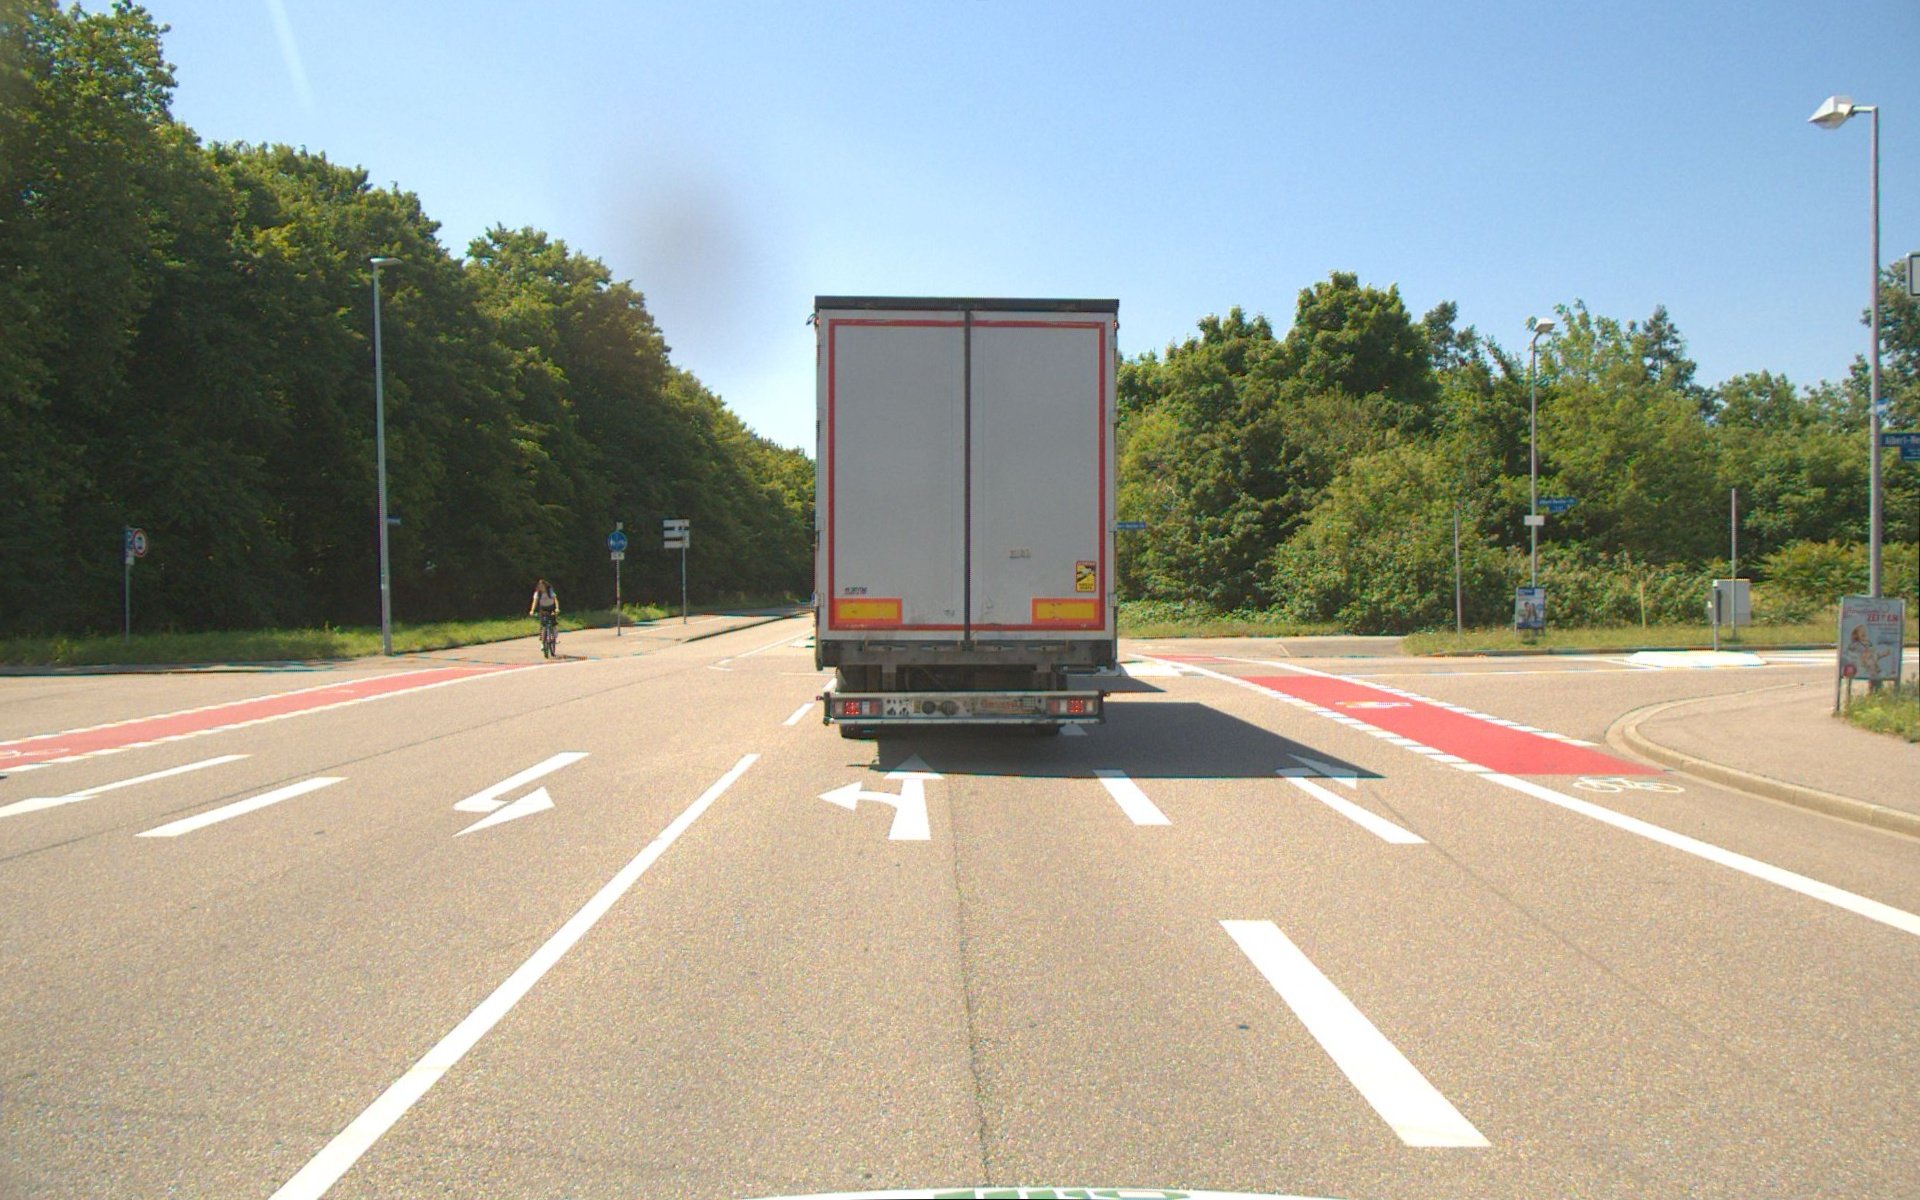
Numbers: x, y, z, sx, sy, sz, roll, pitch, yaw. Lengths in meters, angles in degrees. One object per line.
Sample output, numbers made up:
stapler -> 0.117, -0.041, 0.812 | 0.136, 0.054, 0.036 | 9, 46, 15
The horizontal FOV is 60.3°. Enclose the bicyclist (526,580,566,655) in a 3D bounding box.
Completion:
bicyclist -> -9.741, 0.394, 38.904 | 0.650, 1.735, 0.770 | 0, 1, 10

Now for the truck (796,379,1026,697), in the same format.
truck -> -0.984, -0.849, 25.620 | 3.017, 4.141, 7.950 | 0, 1, -5

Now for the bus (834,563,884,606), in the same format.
bus -> -7.638, -1.248, 126.541 | 2.692, 3.098, 11.942 | -2, 1, 2

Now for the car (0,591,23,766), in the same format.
car -> -8.911, 0.740, 11.676 | 1.707, 1.430, 4.444 | -3, 1, 5

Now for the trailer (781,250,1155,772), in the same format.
trailer -> -0.331, -0.757, 18.152 | 3.017, 4.141, 9.799 | 0, 1, -5

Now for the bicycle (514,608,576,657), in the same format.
bicycle -> -9.745, 0.739, 38.909 | 0.655, 1.073, 2.047 | 0, 1, 10
